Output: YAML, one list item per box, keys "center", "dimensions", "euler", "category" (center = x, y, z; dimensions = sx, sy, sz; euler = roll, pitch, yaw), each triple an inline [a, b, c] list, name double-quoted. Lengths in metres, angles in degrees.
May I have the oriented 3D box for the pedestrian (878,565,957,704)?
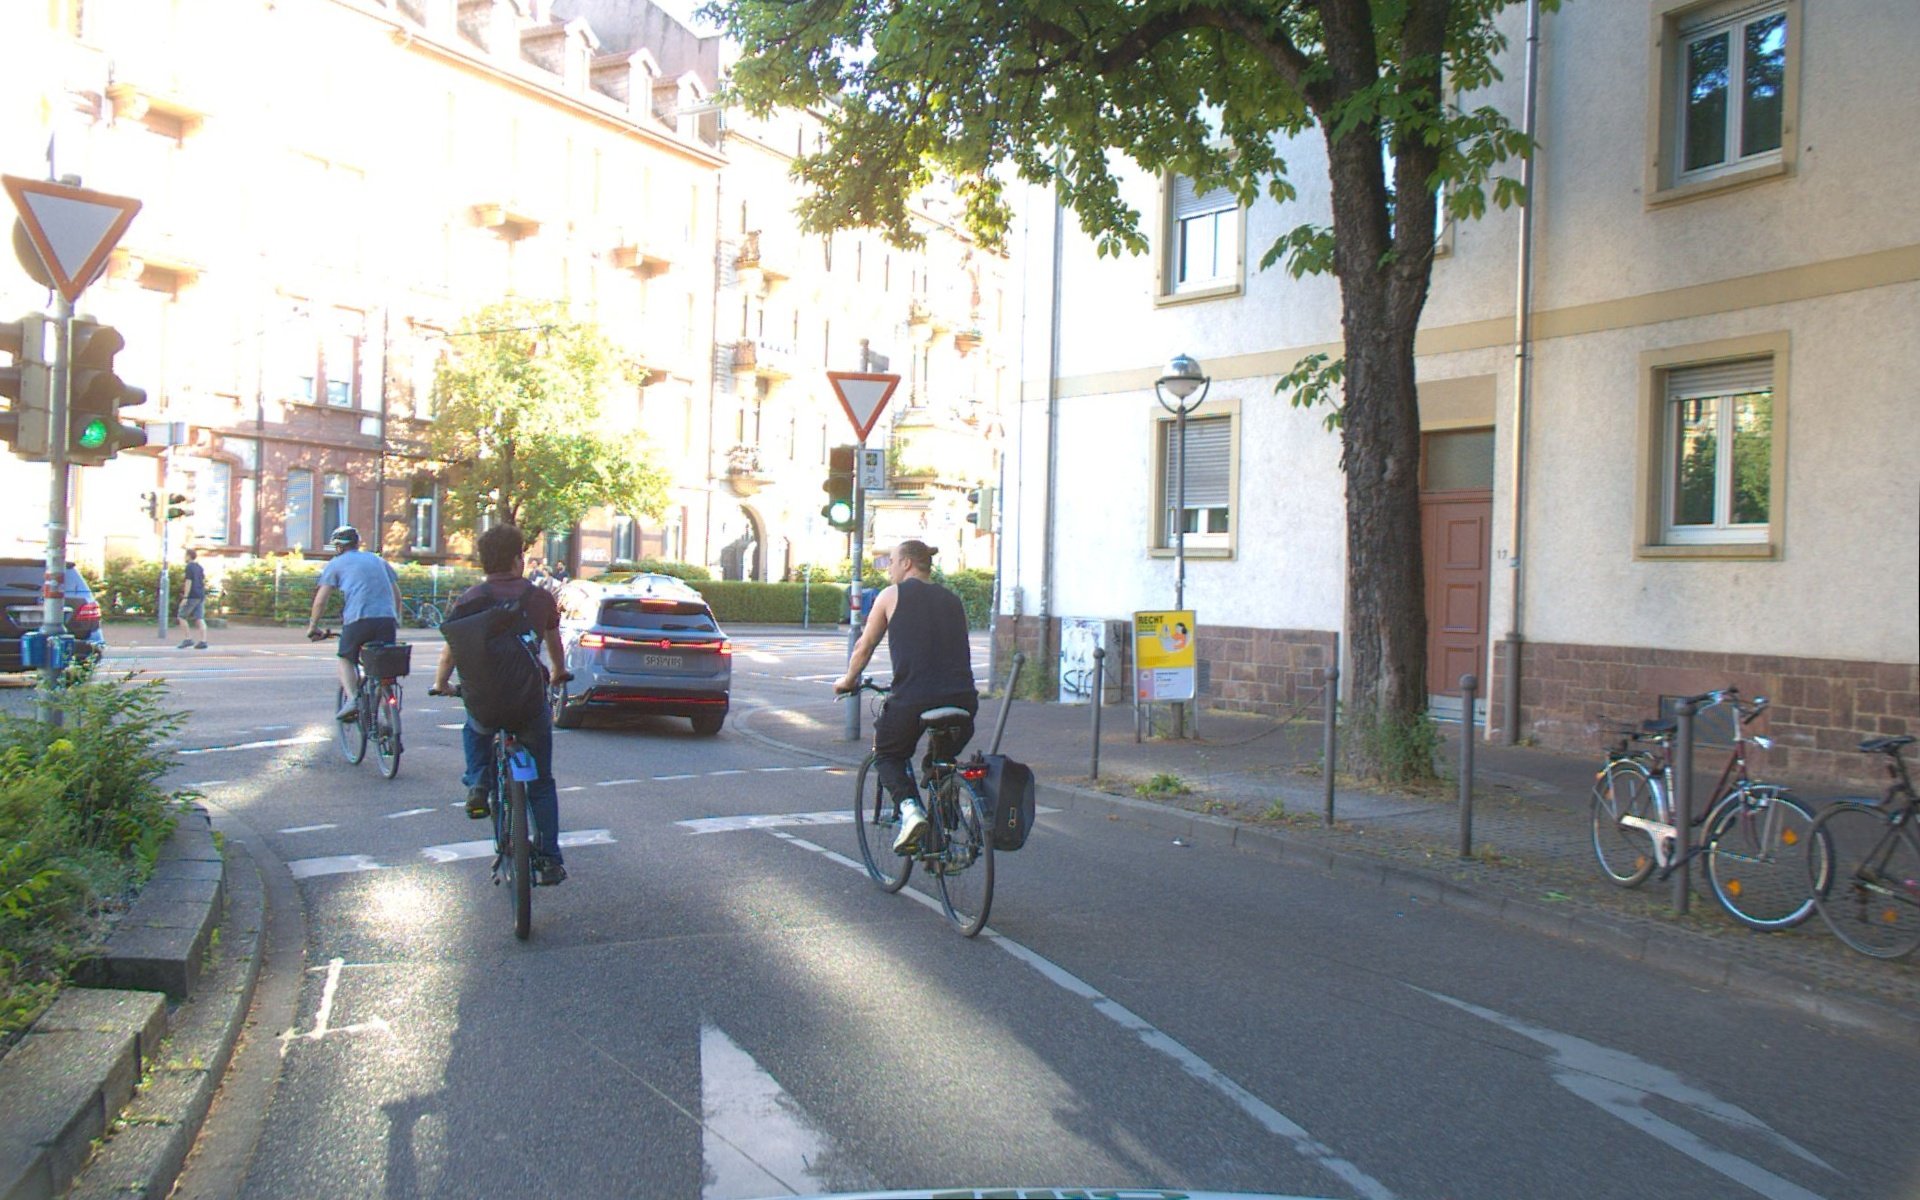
- center: [-0.560, 0.435, 21.520]
  dimensions: [0.637, 1.757, 0.878]
  euler: [-1, 1, -35]
  category: "pedestrian"

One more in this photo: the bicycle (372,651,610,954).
- center: [-2.089, 0.847, 7.629]
  dimensions: [0.703, 1.126, 1.964]
  euler: [2, 0, -6]
  category: "bicycle"

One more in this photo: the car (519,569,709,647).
- center: [-8.003, 0.186, 38.661]
  dimensions: [1.906, 1.679, 4.402]
  euler: [2, 0, 29]
  category: "car"

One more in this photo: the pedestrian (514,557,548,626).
- center: [-11.075, -0.218, 42.679]
  dimensions: [0.512, 1.745, 0.632]
  euler: [2, 0, 42]
  category: "pedestrian"

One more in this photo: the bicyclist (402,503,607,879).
- center: [-2.061, 0.393, 7.599]
  dimensions: [0.693, 1.601, 0.956]
  euler: [2, 0, -6]
  category: "bicyclist"

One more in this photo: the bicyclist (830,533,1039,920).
- center: [-0.141, 0.548, 7.787]
  dimensions: [0.677, 1.685, 0.983]
  euler: [0, 0, -22]
  category: "bicyclist"

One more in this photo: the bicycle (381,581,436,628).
- center: [-13.448, 0.114, 40.341]
  dimensions: [0.434, 1.126, 1.229]
  euler: [3, 1, 34]
  category: "bicycle"

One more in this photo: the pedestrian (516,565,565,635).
- center: [-10.431, 0.002, 41.126]
  dimensions: [0.891, 1.693, 0.701]
  euler: [2, 3, -44]
  category: "pedestrian"

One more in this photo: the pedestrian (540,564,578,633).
- center: [-10.298, -0.038, 42.467]
  dimensions: [0.652, 1.745, 0.632]
  euler: [2, 0, 42]
  category: "pedestrian"

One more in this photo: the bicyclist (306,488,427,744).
- center: [-4.732, 0.128, 13.156]
  dimensions: [0.784, 1.946, 0.938]
  euler: [2, 0, -24]
  category: "bicyclist"

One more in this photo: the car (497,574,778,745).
- center: [-3.803, 0.598, 18.841]
  dimensions: [1.947, 1.613, 4.437]
  euler: [4, 0, -27]
  category: "car"

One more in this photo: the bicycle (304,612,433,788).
- center: [-4.673, 0.732, 12.980]
  dimensions: [0.799, 1.205, 2.211]
  euler: [2, 0, -23]
  category: "bicycle"

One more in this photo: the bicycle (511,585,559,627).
- center: [-11.230, 0.163, 43.692]
  dimensions: [0.434, 1.056, 1.230]
  euler: [3, 1, 33]
  category: "bicycle"

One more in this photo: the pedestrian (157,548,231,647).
- center: [-13.420, -0.054, 28.989]
  dimensions: [0.884, 1.663, 0.725]
  euler: [4, 1, -3]
  category: "pedestrian"

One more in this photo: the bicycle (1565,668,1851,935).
- center: [3.673, 0.939, 8.265]
  dimensions: [0.471, 1.082, 1.632]
  euler: [-1, 1, -10]
  category: "bicycle"

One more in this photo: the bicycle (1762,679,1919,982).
- center: [4.036, 0.944, 6.650]
  dimensions: [0.516, 1.126, 1.736]
  euler: [-1, 1, -11]
  category: "bicycle"

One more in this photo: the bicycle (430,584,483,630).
- center: [-12.629, 0.172, 41.500]
  dimensions: [0.434, 1.126, 1.229]
  euler: [3, 1, 34]
  category: "bicycle"

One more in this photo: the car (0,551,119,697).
- center: [-11.663, 0.219, 19.171]
  dimensions: [3.779, 1.569, 1.790]
  euler: [1, 1, 33]
  category: "car"
